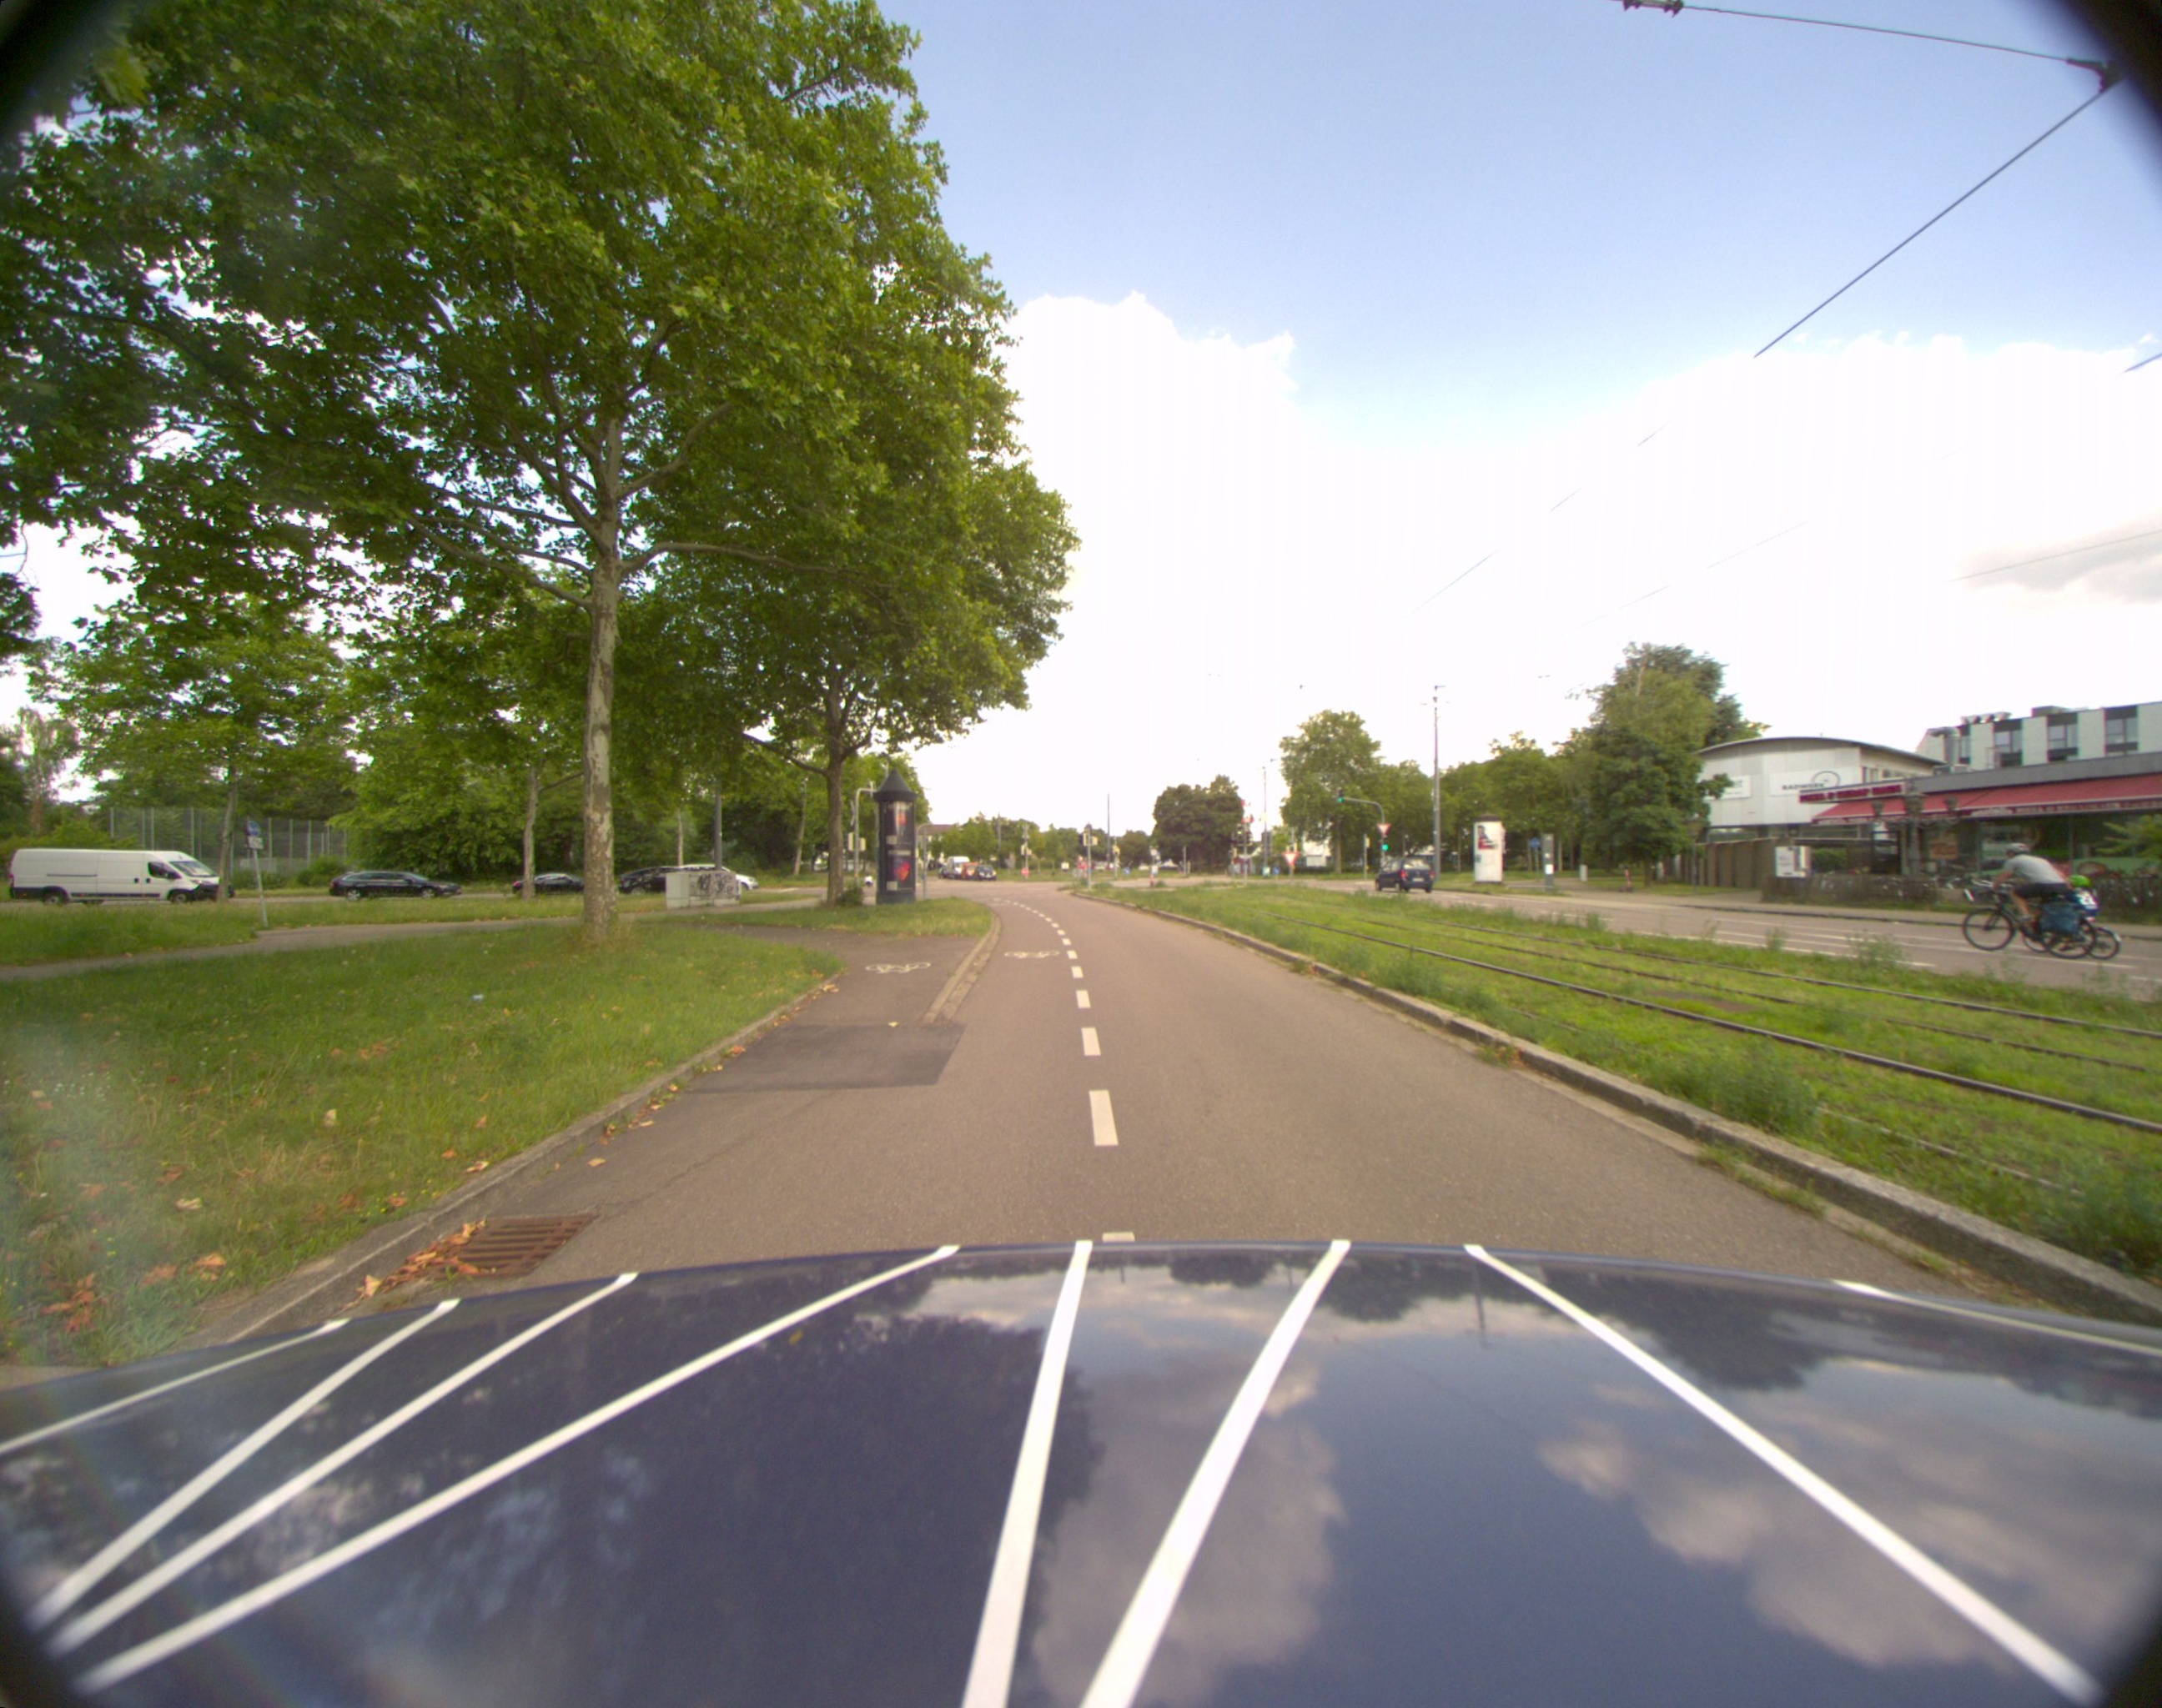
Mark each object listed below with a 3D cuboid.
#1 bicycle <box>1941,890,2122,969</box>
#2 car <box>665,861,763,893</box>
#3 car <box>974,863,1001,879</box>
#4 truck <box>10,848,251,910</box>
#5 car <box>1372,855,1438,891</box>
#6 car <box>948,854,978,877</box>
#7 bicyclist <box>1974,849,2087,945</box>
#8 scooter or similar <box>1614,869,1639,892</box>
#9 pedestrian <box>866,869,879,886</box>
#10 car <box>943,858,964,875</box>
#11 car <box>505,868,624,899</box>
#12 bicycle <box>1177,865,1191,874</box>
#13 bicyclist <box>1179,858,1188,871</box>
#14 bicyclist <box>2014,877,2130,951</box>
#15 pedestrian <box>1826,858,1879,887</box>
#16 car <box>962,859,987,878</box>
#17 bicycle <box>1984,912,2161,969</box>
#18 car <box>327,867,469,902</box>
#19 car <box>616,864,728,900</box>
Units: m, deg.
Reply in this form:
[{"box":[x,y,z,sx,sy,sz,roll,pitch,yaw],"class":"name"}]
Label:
[{"box":[14.988,1.155,12.067,0.647,1.073,1.805,0,0,2],"class":"bicycle"},{"box":[-20.247,1.243,42.145,4.692,1.601,1.996,0,1,-21],"class":"car"},{"box":[-9.257,1.628,74.885,1.798,1.530,3.994,-1,0,-19],"class":"car"},{"box":[-42.272,1.040,34.058,6.515,2.580,2.213,0,0,-20],"class":"truck"},{"box":[15.523,0.887,36.581,1.783,1.617,3.496,0,0,2],"class":"car"},{"box":[-13.490,1.283,86.781,2.242,2.492,5.716,-1,0,-21],"class":"car"},{"box":[14.977,0.655,12.013,0.624,1.449,0.929,0,0,2],"class":"bicyclist"},{"box":[25.156,1.216,35.068,0.427,1.027,1.224,-1,0,10],"class":"scooter or similar"},{"box":[-13.486,1.507,49.065,0.723,1.028,0.900,-1,0,-20],"class":"pedestrian"},{"box":[-15.482,1.500,92.149,1.798,1.924,4.361,-1,0,-20],"class":"car"},{"box":[-26.590,1.480,39.323,4.754,1.461,1.996,0,1,-21],"class":"car"},{"box":[11.945,1.808,88.181,0.805,1.053,2.067,-1,-2,-15],"class":"bicycle"},{"box":[11.897,1.267,88.341,0.805,1.461,0.831,-1,-1,-15],"class":"bicyclist"},{"box":[15.682,0.930,12.052,0.641,1.106,0.929,0,0,3],"class":"bicyclist"},{"box":[30.784,0.722,30.321,1.156,1.139,0.932,0,0,1],"class":"pedestrian"},{"box":[-11.346,1.536,80.607,1.798,1.924,4.361,-1,0,-20],"class":"car"},{"box":[15.678,1.338,12.037,0.647,0.713,1.805,0,0,2],"class":"bicycle"},{"box":[-33.130,1.442,37.043,4.692,1.504,1.996,0,1,-21],"class":"car"},{"box":[-20.301,1.364,37.955,4.691,1.601,1.996,0,1,-20],"class":"car"}]
